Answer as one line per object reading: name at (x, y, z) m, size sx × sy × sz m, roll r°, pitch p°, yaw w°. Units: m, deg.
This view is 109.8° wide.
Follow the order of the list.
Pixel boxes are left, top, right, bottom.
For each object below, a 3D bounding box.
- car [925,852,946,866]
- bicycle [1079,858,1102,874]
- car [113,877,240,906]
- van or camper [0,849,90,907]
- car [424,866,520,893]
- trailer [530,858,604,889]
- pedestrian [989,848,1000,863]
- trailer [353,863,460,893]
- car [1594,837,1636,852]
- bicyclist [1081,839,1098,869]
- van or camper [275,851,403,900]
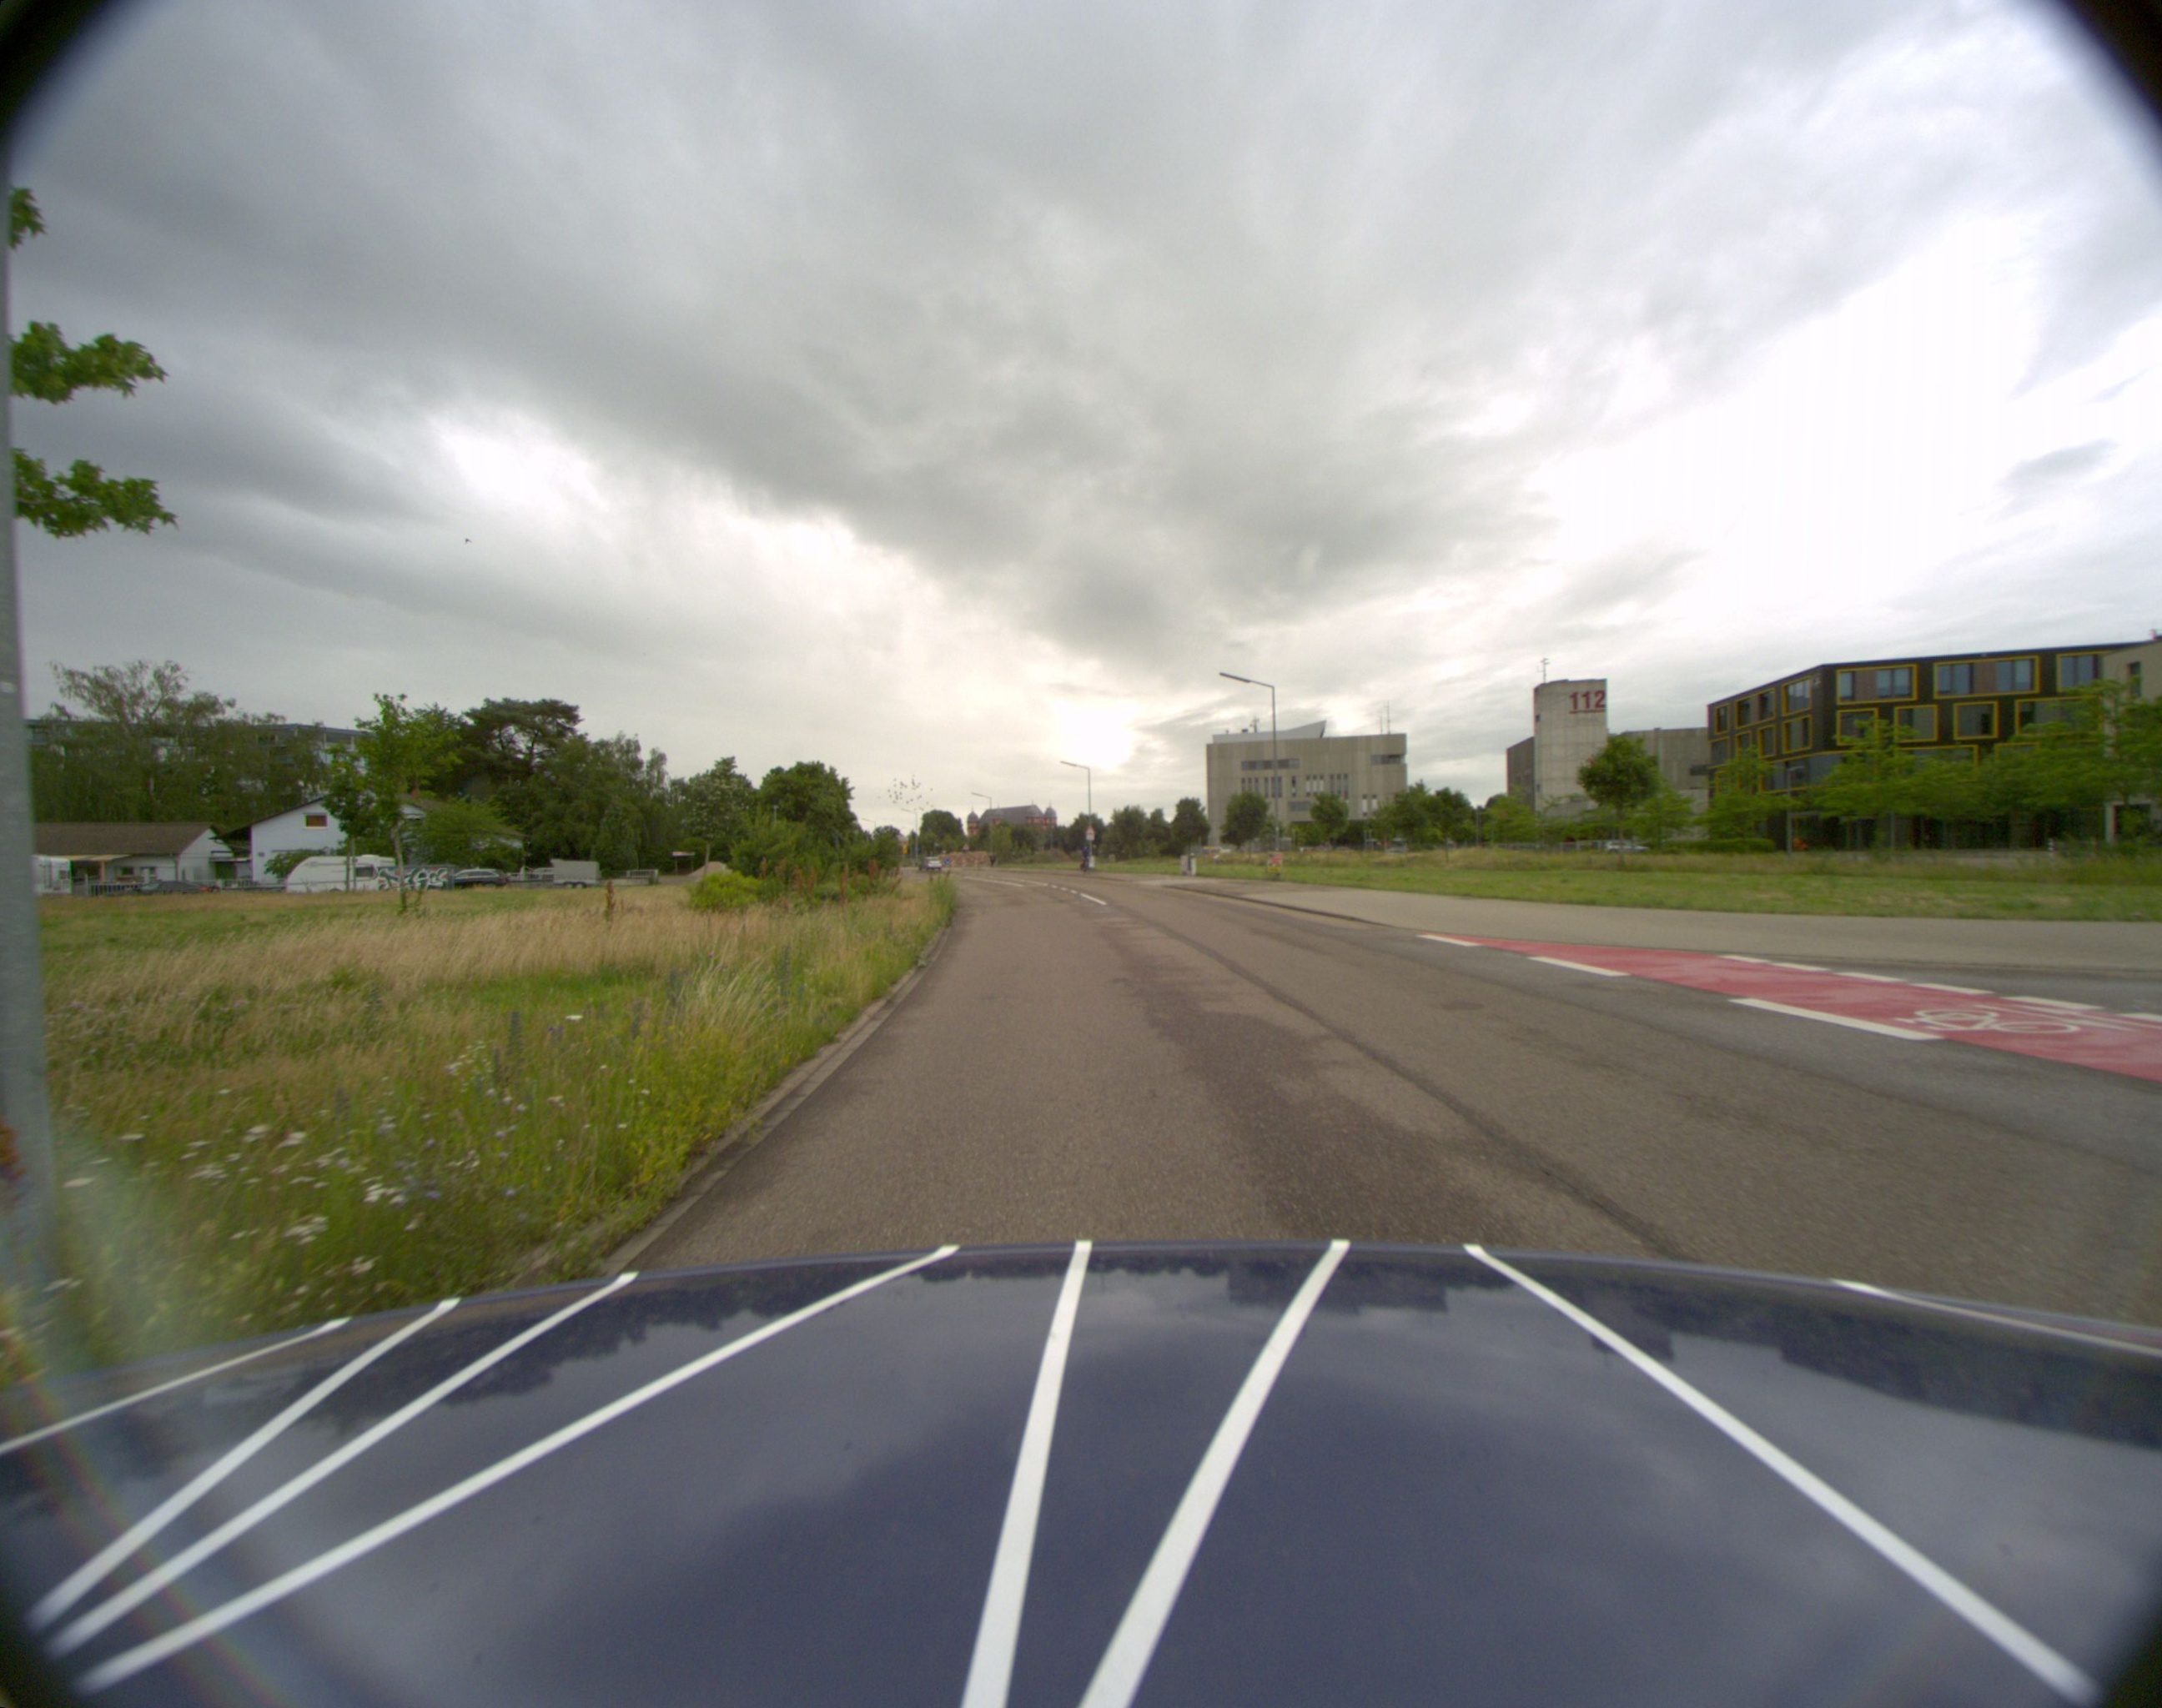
car at (-16.688, 0.533, 86.938) m, size 1.678 × 1.453 × 4.049 m, roll -4°, pitch 1°, yaw -20°
bicycle at (0.611, 0.841, 52.522) m, size 0.887 × 1.046 × 2.466 m, roll -1°, pitch 0°, yaw -16°
car at (-52.510, 2.148, 44.223) m, size 4.296 × 1.377 × 1.908 m, roll -1°, pitch 0°, yaw -27°
van or camper at (-59.017, 1.336, 41.127) m, size 6.083 × 3.093 × 2.266 m, roll -1°, pitch 0°, yaw -28°
car at (-40.232, 1.672, 50.366) m, size 4.600 × 1.630 × 1.996 m, roll -1°, pitch 0°, yaw -27°
trailer at (-35.838, 1.359, 53.089) m, size 4.005 × 2.002 × 1.640 m, roll -1°, pitch 0°, yaw -27°
pedestrian at (-9.953, 0.176, 87.521) m, size 0.848 × 1.772 × 1.075 m, roll -2°, pitch 0°, yaw -29°
trailer at (-37.399, 1.302, 42.278) m, size 4.126 × 1.523 × 1.754 m, roll -1°, pitch 0°, yaw -29°
car at (54.182, -0.941, 77.156) m, size 1.997 × 1.514 × 4.004 m, roll 0°, pitch -1°, yaw 10°
bicyclist at (0.590, -0.003, 52.523) m, size 0.865 × 2.002 × 1.176 m, roll -2°, pitch 0°, yaw -17°
van or camper at (-46.275, 1.301, 47.563) m, size 5.186 × 2.815 × 2.411 m, roll -1°, pitch 0°, yaw -25°
